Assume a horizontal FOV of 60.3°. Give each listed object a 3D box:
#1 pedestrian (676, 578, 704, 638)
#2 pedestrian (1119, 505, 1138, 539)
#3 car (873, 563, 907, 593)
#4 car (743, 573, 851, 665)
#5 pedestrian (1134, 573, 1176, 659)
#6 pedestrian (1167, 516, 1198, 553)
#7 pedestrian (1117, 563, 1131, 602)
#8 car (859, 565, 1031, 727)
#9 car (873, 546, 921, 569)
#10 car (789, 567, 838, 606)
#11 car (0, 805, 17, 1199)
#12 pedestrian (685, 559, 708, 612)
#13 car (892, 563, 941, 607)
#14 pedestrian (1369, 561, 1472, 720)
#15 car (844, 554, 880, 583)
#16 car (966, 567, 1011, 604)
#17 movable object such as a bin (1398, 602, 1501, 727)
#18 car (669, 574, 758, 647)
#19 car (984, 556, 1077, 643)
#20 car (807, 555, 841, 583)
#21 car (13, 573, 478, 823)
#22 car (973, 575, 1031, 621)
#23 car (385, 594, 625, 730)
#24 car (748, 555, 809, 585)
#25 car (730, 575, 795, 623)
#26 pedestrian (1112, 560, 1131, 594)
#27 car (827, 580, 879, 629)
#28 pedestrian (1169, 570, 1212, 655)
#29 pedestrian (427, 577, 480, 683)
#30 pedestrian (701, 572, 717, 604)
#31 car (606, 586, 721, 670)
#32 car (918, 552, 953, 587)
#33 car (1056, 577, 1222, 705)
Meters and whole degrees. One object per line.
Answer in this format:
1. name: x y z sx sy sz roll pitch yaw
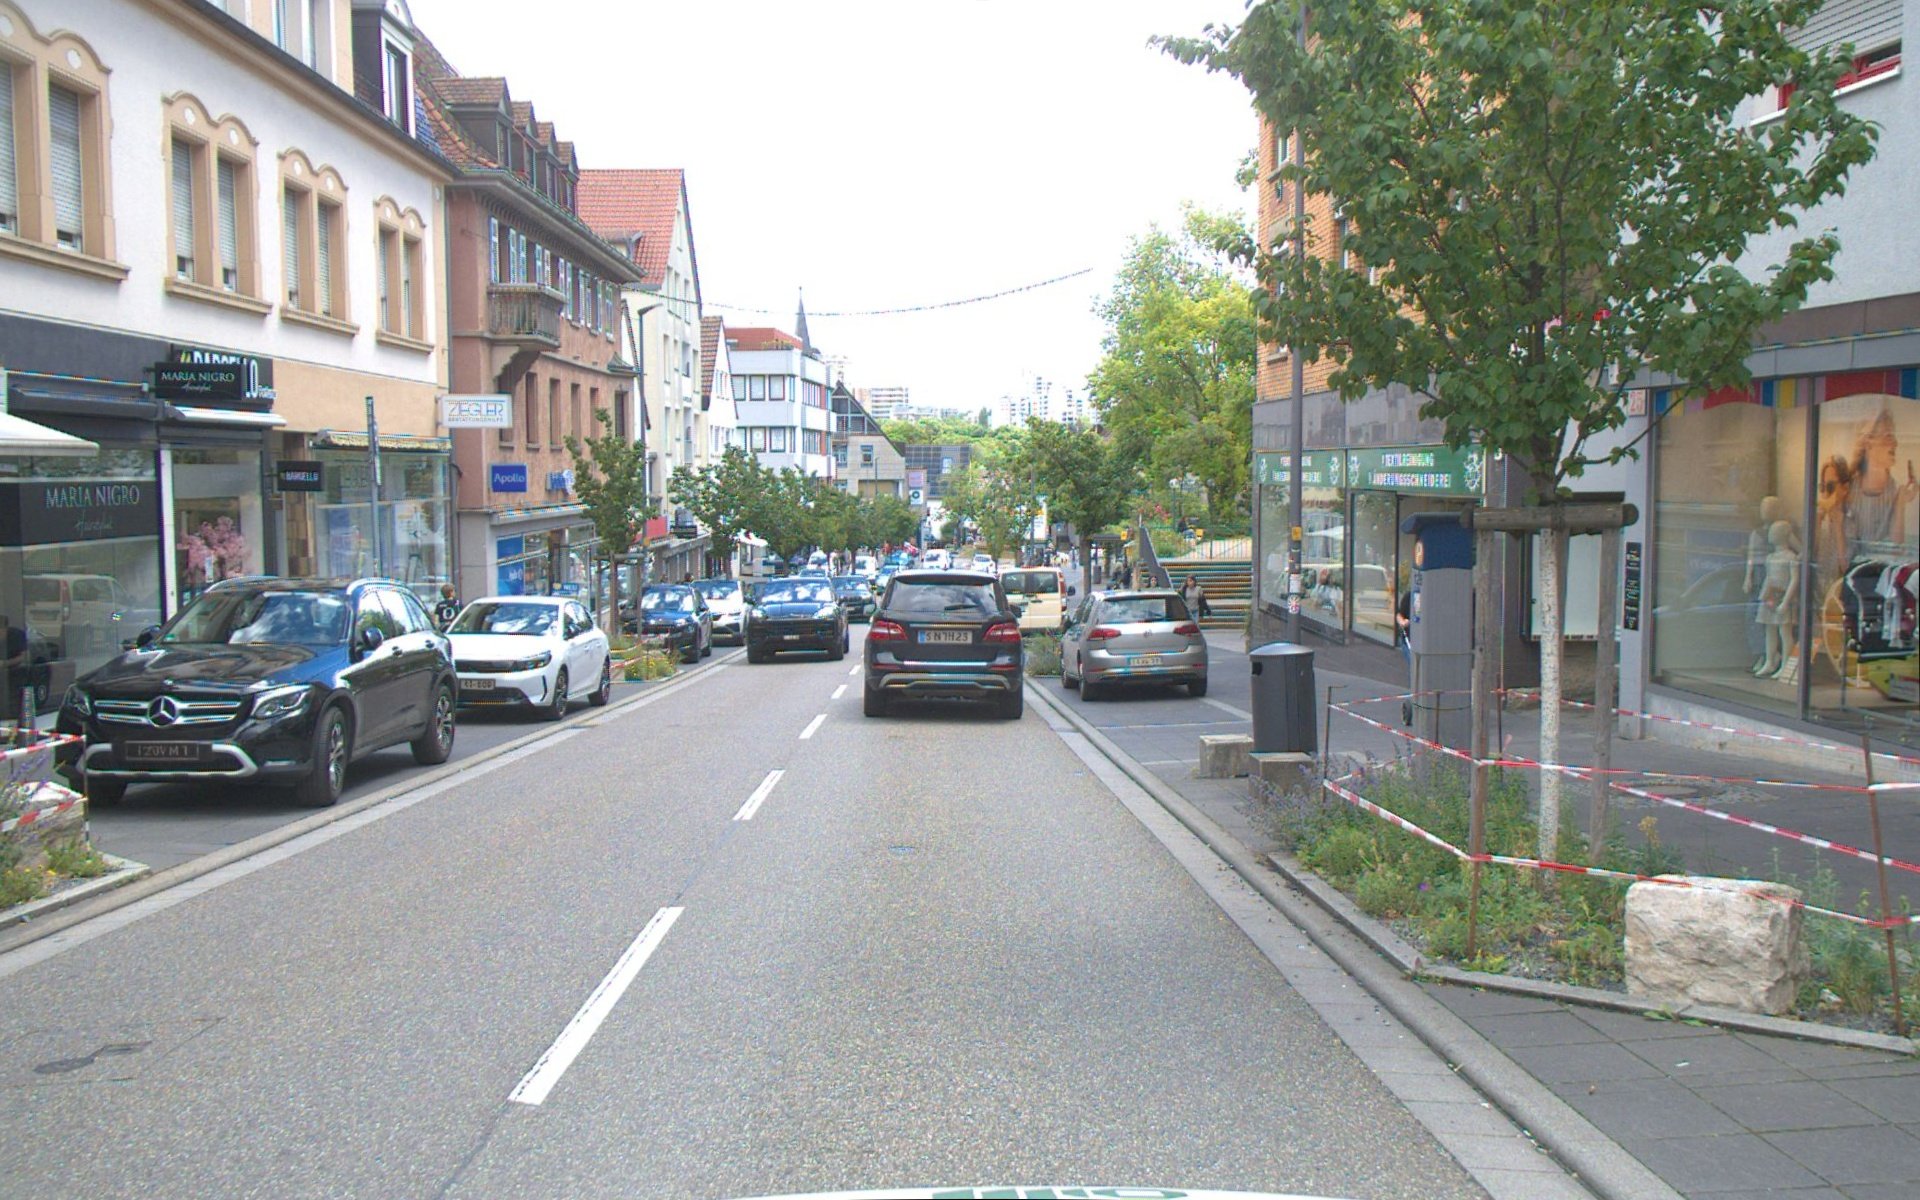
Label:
1. pedestrian: -7.636 0.215 46.805 0.712 1.696 0.720 0 1 -2
2. pedestrian: 11.257 -5.232 110.720 0.990 2.188 1.068 -2 1 17
3. car: -3.751 -1.195 88.861 1.776 1.534 3.999 -1 1 -2
4. car: -3.379 0.340 35.023 1.952 1.748 4.445 -2 1 -2
5. pedestrian: 3.887 0.313 32.941 0.658 1.661 0.669 -3 1 -4
6. pedestrian: 7.696 -2.258 57.202 0.970 1.252 0.984 0 1 0
7. pedestrian: 6.892 -0.748 69.378 0.556 1.614 0.666 -1 1 7
8. car: -0.202 0.476 20.654 1.904 1.770 4.178 1 1 -1
9. car: -5.757 -3.889 151.002 4.109 2.065 1.783 0 1 33
10. car: -6.623 -0.637 75.148 1.887 1.657 4.262 0 2 -1
11. car: -2.531 0.691 0.858 1.782 1.646 4.134 -2 1 -2
12. pedestrian: -8.445 -0.465 52.983 0.628 1.696 0.720 0 1 -2
13. car: -1.743 -0.645 67.604 1.887 1.656 4.262 2 2 -1
14. pedestrian: 4.900 0.414 17.670 0.720 1.612 1.000 -3 1 -2
15. car: -5.872 -1.917 99.449 1.887 1.656 4.262 2 2 -1
16. car: 1.265 -0.686 75.780 1.898 1.571 4.707 -1 2 -1
17. movable object such as a bin: 4.944 0.635 16.758 0.707 1.178 0.906 -3 1 -2
18. car: -6.205 0.225 42.034 1.889 1.623 4.455 2 2 -4
19. car: 1.681 -0.077 40.934 1.899 1.924 4.706 -2 2 -2
20. car: -8.413 -1.929 102.359 1.888 1.656 4.413 2 2 -3
21. car: -5.453 0.626 13.389 1.888 1.649 4.638 1 1 -2
22. car: 1.461 -0.107 58.998 1.898 1.482 4.707 -1 2 -1
23. car: -5.614 0.702 20.963 1.887 1.455 4.262 0 1 0
24. car: -12.013 -1.981 109.611 3.910 1.780 1.998 -3 1 -5
25. car: -6.961 -0.068 58.639 1.888 1.522 4.261 2 2 -2
26. pedestrian: 9.522 -1.380 97.200 1.027 1.946 0.937 -2 1 6
27. car: -3.759 0.130 58.641 1.729 1.645 4.031 0 1 -2
28. pedestrian: 4.618 0.248 33.155 0.658 1.661 0.669 -3 1 -4
29. pedestrian: -7.911 0.454 25.856 0.536 1.603 0.863 -1 1 -2
30. pedestrian: -10.353 -0.514 68.260 0.553 1.304 0.758 0 1 -2
31. car: -6.146 0.534 34.687 1.888 1.522 4.259 -1 2 -4
32. car: -1.710 -2.144 115.709 2.128 2.405 4.624 0 1 3
33. car: 2.455 0.502 23.622 1.713 1.490 4.073 -4 2 -2
